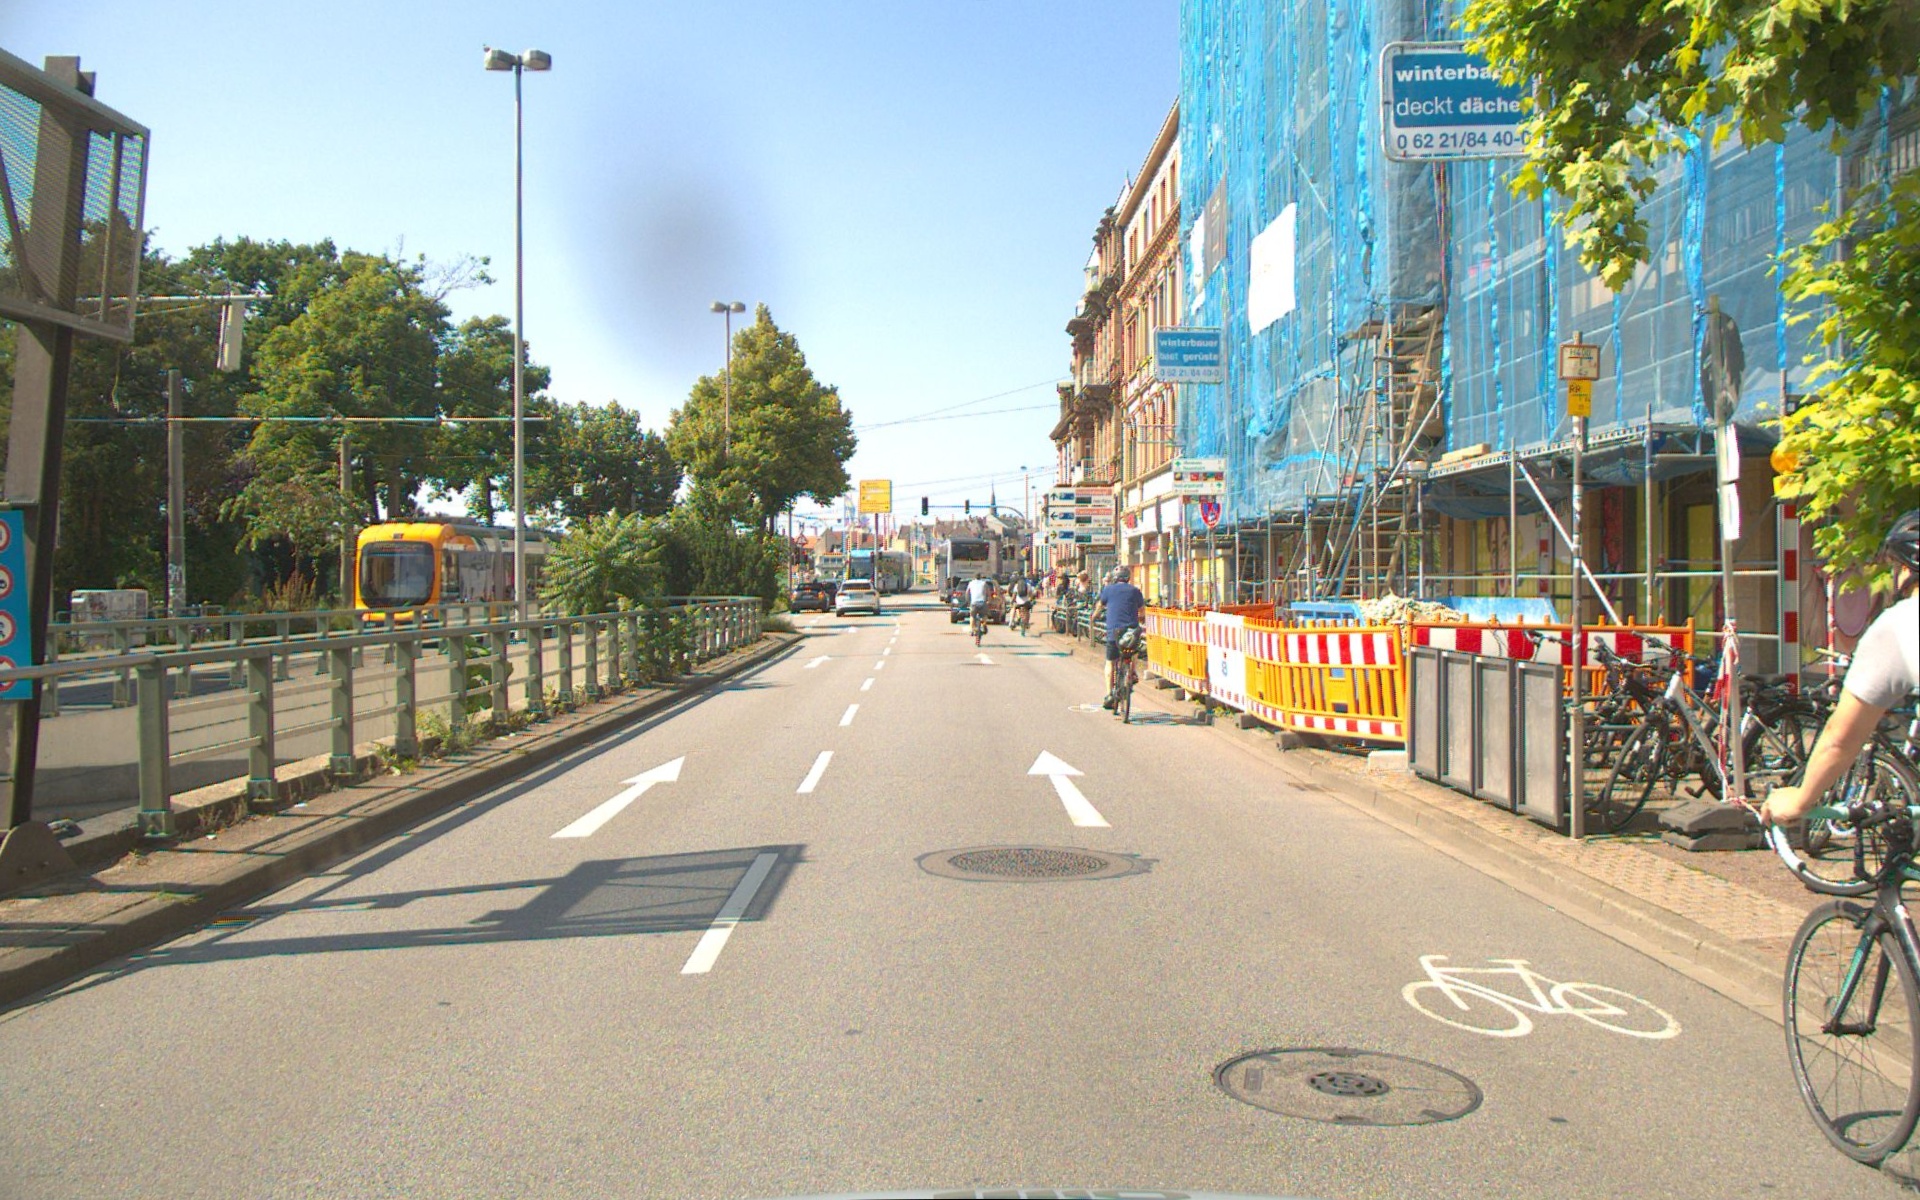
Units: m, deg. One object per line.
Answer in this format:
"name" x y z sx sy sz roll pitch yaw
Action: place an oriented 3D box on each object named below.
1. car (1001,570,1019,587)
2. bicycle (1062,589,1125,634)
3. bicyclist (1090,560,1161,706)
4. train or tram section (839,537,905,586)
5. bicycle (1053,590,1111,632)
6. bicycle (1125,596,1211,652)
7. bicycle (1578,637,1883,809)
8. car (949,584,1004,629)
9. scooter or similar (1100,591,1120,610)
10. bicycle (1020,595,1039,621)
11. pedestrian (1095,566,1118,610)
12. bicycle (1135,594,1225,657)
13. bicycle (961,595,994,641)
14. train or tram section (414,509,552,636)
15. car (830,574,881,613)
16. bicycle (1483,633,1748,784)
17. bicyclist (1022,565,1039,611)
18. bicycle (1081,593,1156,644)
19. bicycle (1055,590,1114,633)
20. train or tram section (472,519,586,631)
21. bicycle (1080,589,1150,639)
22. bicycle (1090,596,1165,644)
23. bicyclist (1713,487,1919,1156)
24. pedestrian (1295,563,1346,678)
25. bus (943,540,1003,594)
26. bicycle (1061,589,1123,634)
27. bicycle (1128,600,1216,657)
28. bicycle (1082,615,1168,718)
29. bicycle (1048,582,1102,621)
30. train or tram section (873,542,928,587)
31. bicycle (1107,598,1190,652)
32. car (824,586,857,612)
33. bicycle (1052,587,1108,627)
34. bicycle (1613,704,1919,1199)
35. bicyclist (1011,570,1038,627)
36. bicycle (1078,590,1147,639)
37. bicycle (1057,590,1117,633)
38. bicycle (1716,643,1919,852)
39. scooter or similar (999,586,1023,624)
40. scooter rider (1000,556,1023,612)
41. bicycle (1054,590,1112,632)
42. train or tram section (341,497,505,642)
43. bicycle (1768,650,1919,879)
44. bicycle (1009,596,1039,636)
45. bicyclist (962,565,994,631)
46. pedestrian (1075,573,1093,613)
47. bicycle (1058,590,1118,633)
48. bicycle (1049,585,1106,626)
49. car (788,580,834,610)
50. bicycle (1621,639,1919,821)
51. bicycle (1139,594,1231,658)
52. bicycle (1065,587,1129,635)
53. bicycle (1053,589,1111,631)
"car" 5.690 -2.421 187.623 1.952 1.910 4.001 -1 0 1
"bicycle" 3.640 0.318 45.039 1.659 1.199 0.497 1 0 -1
"bicyclist" 1.927 0.378 19.363 0.674 1.644 0.918 2 0 -2
"train or tram section" -7.135 -3.105 135.986 2.762 3.643 10.040 2 0 12
"bicycle" 3.605 0.318 48.865 1.659 1.199 0.460 1 0 -1
"bicycle" 4.211 0.483 33.619 1.659 1.116 0.608 1 0 -1
"bicycle" 4.819 0.756 10.385 1.717 1.036 0.482 0 0 -3
"car" 0.579 0.216 58.933 1.835 1.519 4.000 2 0 0
"scooter or similar" 5.885 0.018 64.911 0.677 0.661 0.565 -4 0 -2
"bicycle" 3.027 0.334 72.091 0.719 1.112 1.898 2 0 0
"pedestrian" 5.803 -0.471 65.470 0.740 1.684 0.837 -4 0 -2
"bicycle" 4.270 0.489 32.148 1.659 1.199 0.608 1 0 -1
"bicycle" 0.423 0.431 40.995 0.719 1.112 1.897 2 0 -2
"train or tram section" -14.768 -0.821 51.683 2.560 3.643 6.102 2 0 -1
"car" -4.256 -0.269 67.958 1.820 1.533 4.000 2 0 0
"bicycle" 4.664 0.761 11.804 1.717 1.036 0.482 0 0 -3
"bicyclist" 3.068 -0.527 72.080 0.674 1.996 0.778 2 0 -1
"bicycle" 3.822 0.433 39.984 1.735 1.199 0.608 1 0 -1
"bicycle" 3.579 0.334 47.717 1.659 1.199 0.514 1 0 -1
"train or tram section" -14.869 -0.843 57.431 2.560 3.643 5.356 2 0 -1
"bicycle" 3.814 0.350 40.808 1.659 1.199 0.608 1 0 -1
"bicycle" 3.896 0.460 38.567 1.659 1.106 0.608 1 0 -1
"bicyclist" 2.471 0.497 4.046 0.674 1.488 1.142 2 0 -2
"pedestrian" 5.792 0.331 26.598 0.626 1.807 0.649 2 0 -1
"bus" 0.829 -1.802 94.168 2.907 2.825 8.645 2 0 3
"bicycle" 3.639 0.321 45.595 1.659 1.199 0.490 1 0 -1
"bicycle" 4.212 0.563 32.940 1.659 1.116 0.608 1 0 -1
"bicycle" 1.913 0.752 19.439 0.719 1.112 1.910 2 0 -2
"bicycle" 3.606 0.042 51.902 1.659 1.199 0.608 -1 1 -1
"train or tram section" -5.153 -3.077 144.798 2.762 3.643 8.233 2 0 12
"bicycle" 4.074 0.529 35.757 1.703 1.128 0.608 1 0 -1
"car" -6.328 -0.072 87.652 1.422 1.323 4.000 2 0 0
"bicycle" 3.619 0.207 50.020 1.659 1.199 0.469 1 0 -1
"bicycle" 2.447 0.893 4.102 0.719 1.112 2.130 2 0 -2
"bicyclist" 1.848 -0.036 47.431 0.674 1.604 1.049 2 0 -2
"bicycle" 3.817 0.356 41.480 1.659 1.199 0.608 1 0 -1
"bicycle" 3.610 0.333 47.171 1.659 1.199 0.457 1 0 -1
"bicycle" 4.955 0.766 9.002 1.728 1.036 0.480 0 0 -22
"scooter or similar" 1.603 0.160 52.474 0.674 1.188 1.463 2 0 -1
"scooter rider" 1.636 -0.503 52.512 0.674 1.759 0.778 2 0 -1
"bicycle" 3.587 0.319 48.298 1.659 1.199 0.459 1 0 -1
"train or tram section" -14.649 -0.797 45.595 2.560 3.643 6.102 2 0 -1
"bicycle" 4.826 0.766 7.907 1.717 1.036 0.482 0 0 -3
"bicycle" 1.834 0.453 47.438 0.719 1.112 1.897 2 0 -1
"bicyclist" 0.440 -0.054 40.874 0.674 1.604 1.049 2 0 -2
"pedestrian" 5.257 -0.300 70.075 0.641 1.649 0.815 -1 1 -2
"bicycle" 3.609 0.326 46.659 1.659 1.199 0.463 1 0 -1
"bicycle" 3.595 0.155 50.617 1.659 1.199 0.608 -1 1 -1
"car" -7.021 -0.234 78.113 1.778 1.355 4.000 2 0 0
"bicycle" 4.874 0.759 9.832 1.717 1.036 0.482 0 0 -3
"bicycle" 4.270 0.490 31.465 1.659 1.199 0.608 1 0 -1
"bicycle" 3.664 0.284 44.388 1.659 1.262 0.608 1 0 -1
"bicycle" 3.643 0.296 49.421 1.659 1.199 0.469 1 0 -1
